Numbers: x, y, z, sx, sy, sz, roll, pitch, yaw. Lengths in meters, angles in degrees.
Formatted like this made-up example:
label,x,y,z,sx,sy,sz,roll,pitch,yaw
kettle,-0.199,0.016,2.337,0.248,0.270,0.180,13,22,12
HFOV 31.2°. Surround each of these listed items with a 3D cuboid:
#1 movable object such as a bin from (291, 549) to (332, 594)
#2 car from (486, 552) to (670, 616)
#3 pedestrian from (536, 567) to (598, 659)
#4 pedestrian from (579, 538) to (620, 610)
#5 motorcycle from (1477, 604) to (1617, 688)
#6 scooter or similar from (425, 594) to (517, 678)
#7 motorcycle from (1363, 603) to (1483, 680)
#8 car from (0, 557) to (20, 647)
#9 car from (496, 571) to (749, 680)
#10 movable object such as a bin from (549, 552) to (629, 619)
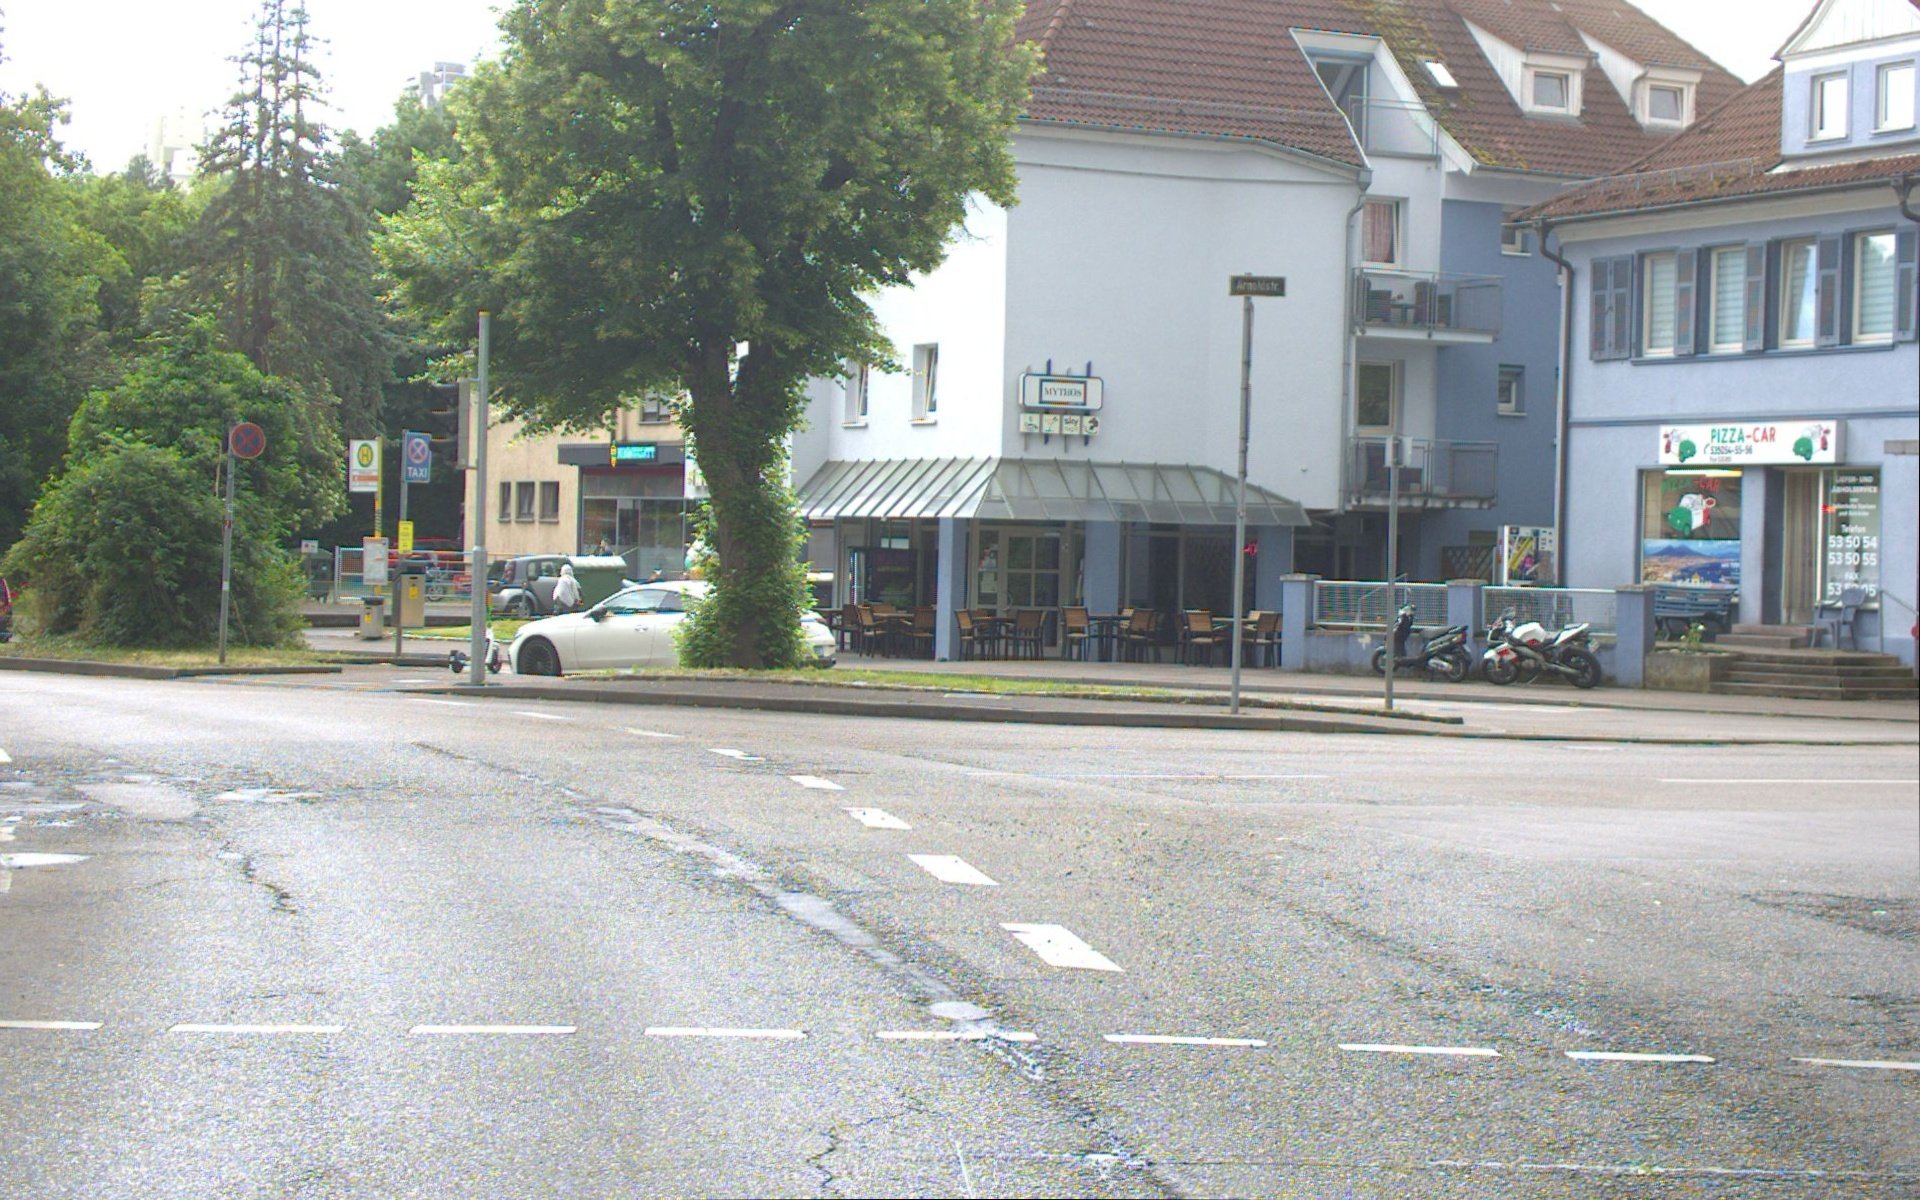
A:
label,x,y,z,sx,sy,sz,roll,pitch,yaw
movable object such as a bin,-16.247,-0.724,86.168,0.950,1.111,0.383,1,1,-21
car,-8.426,-0.359,75.872,3.733,1.340,1.434,1,1,-26
pedestrian,-6.663,0.215,58.279,0.768,1.539,0.677,1,1,39
pedestrian,-7.852,-0.573,74.943,0.705,1.539,0.678,1,1,-22
motorcycle,8.256,0.638,48.380,1.798,1.118,0.693,2,1,38
scooter or similar,-6.060,0.436,42.650,0.417,1.008,1.565,1,1,20
motorcycle,6.751,0.601,50.159,1.636,1.060,0.693,2,1,44
car,-16.514,-0.008,53.722,3.590,1.389,1.469,2,1,32
car,-4.532,0.321,46.043,3.171,1.350,1.436,2,1,35
movable object such as a bin,-7.983,-0.317,73.975,1.440,1.404,0.967,1,1,-27
